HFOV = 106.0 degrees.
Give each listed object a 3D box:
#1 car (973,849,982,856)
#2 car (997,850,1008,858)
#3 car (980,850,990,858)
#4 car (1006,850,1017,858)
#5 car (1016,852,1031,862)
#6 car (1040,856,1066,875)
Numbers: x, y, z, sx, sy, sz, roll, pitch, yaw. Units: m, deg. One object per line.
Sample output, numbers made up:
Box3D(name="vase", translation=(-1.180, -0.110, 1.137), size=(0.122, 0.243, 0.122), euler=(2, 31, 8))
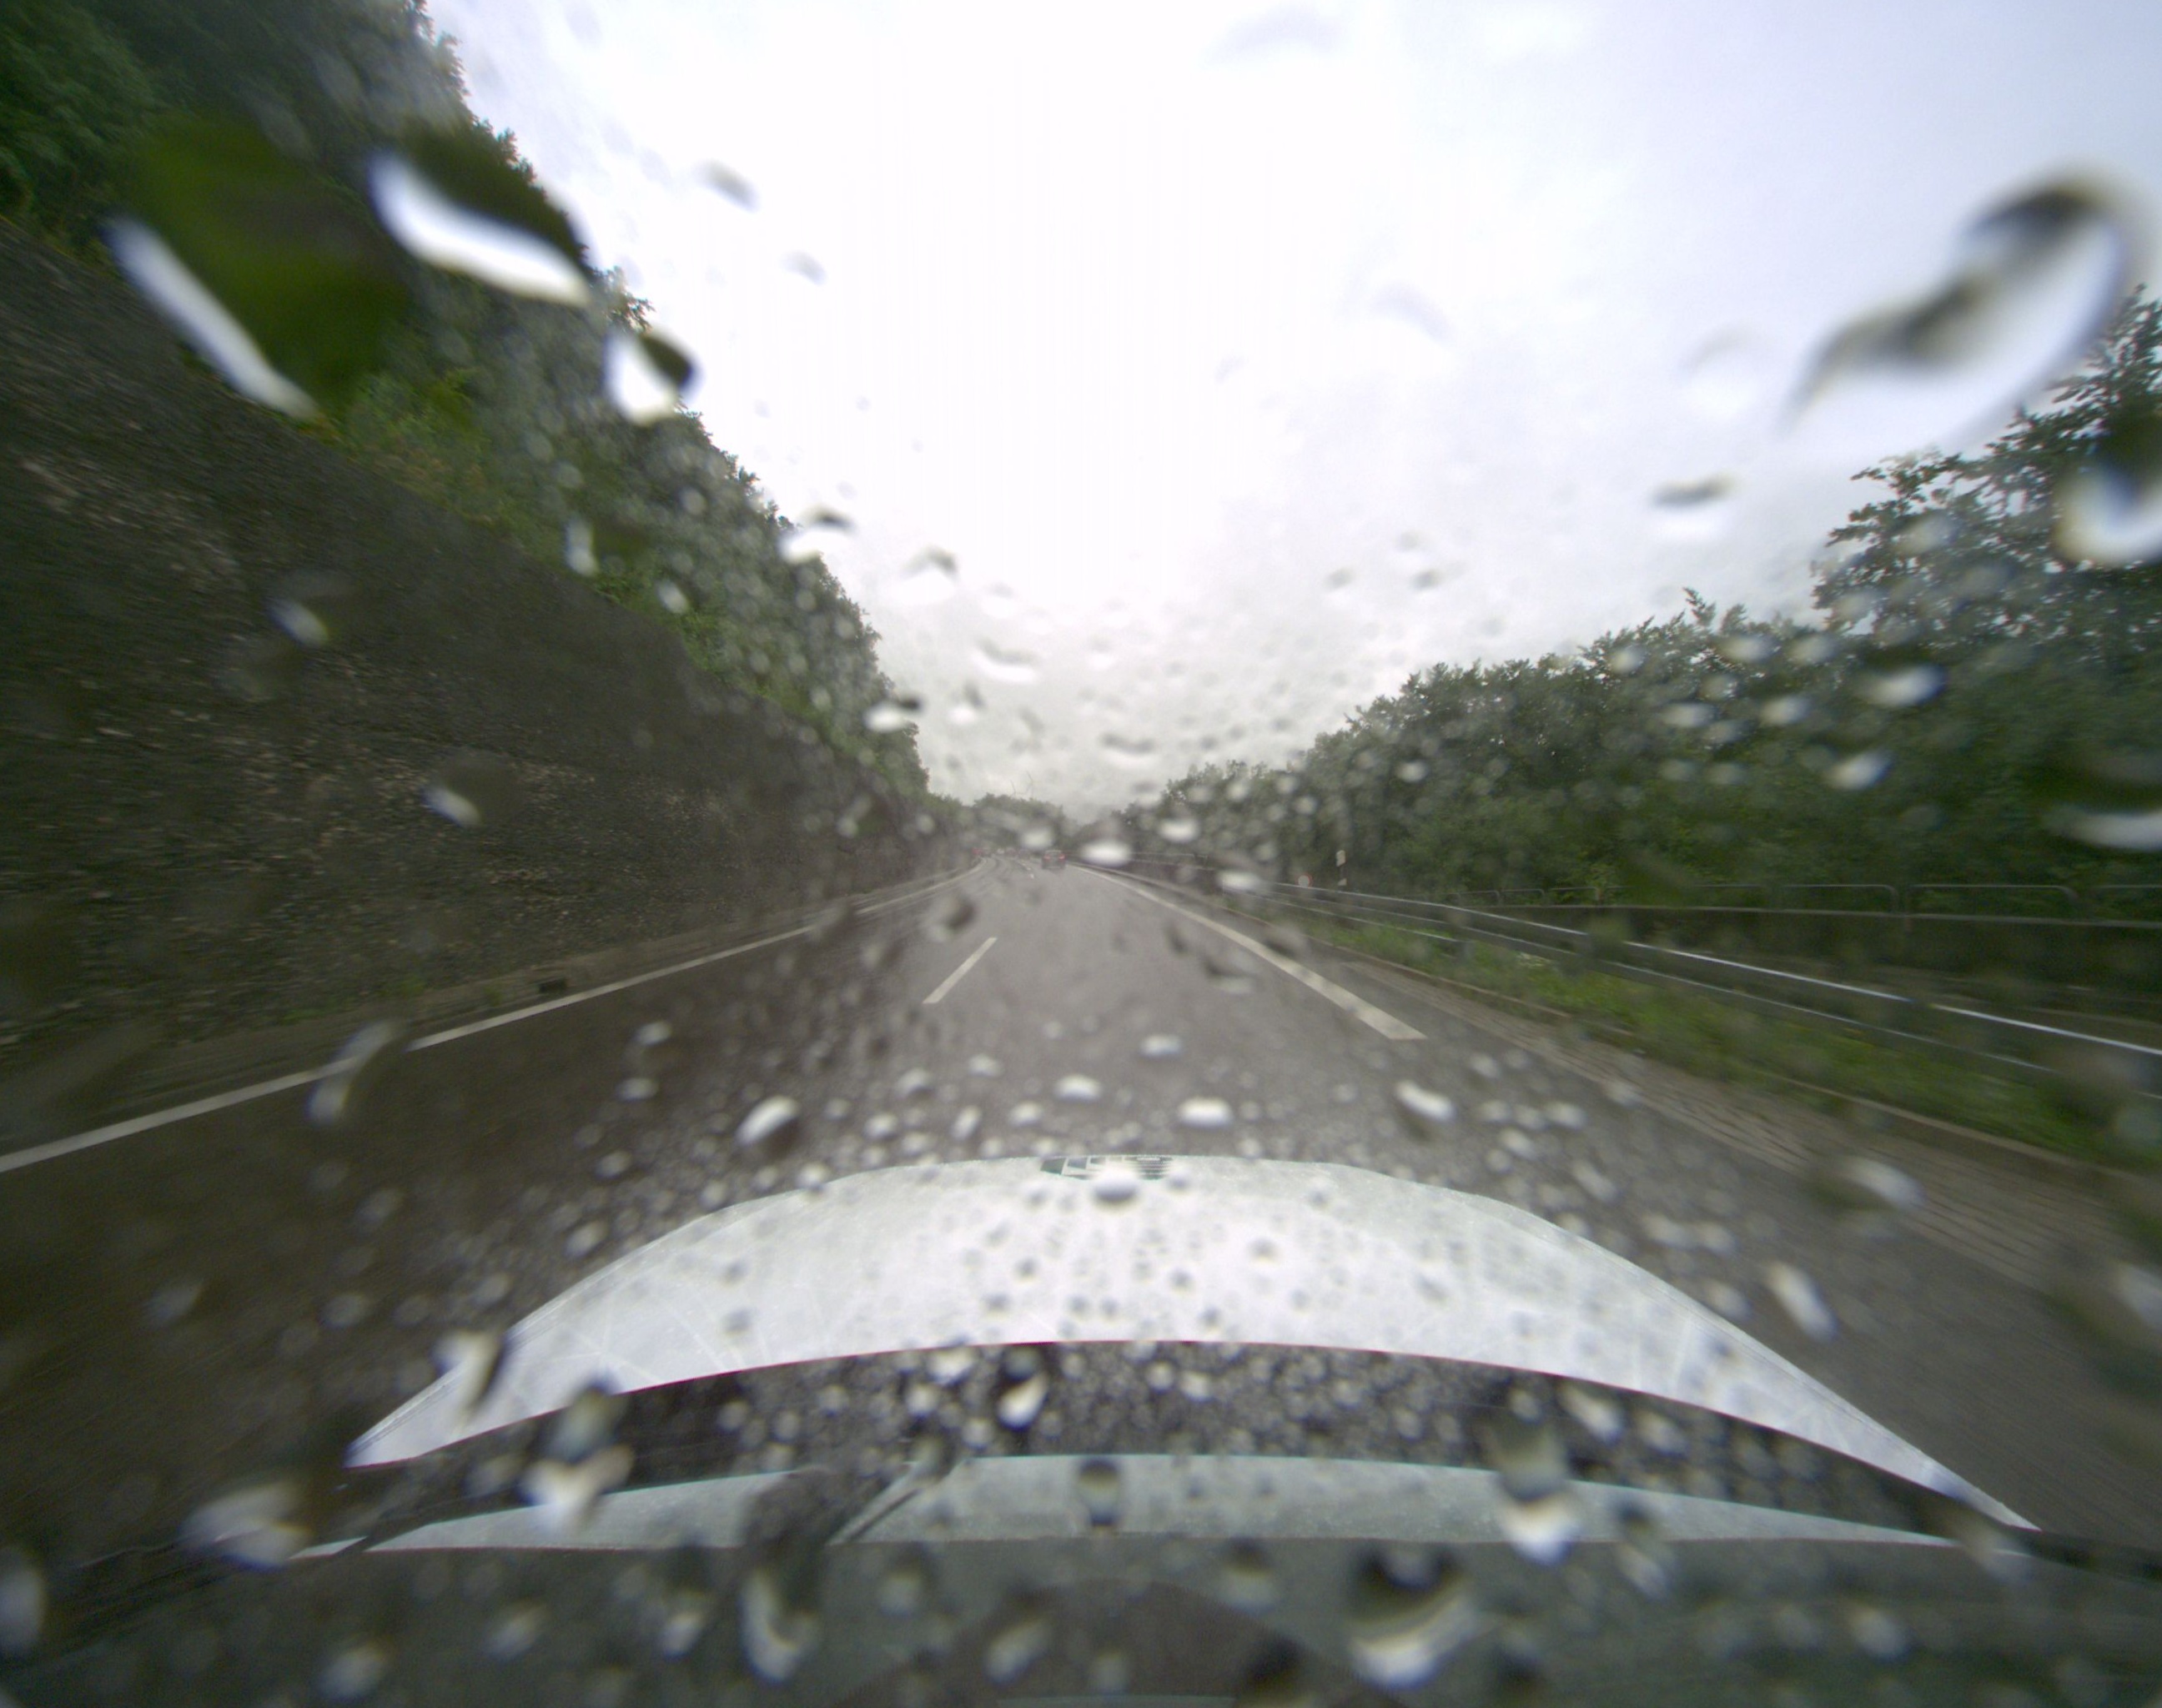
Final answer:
Box3D(name="car", translation=(-22.224, -0.332, 174.945), size=(1.903, 1.499, 3.988), euler=(0, 0, -9))
Box3D(name="car", translation=(-16.426, -0.044, 169.670), size=(1.904, 1.499, 3.986), euler=(0, 0, -10))
Box3D(name="car", translation=(-17.373, -0.031, 147.457), size=(1.902, 1.499, 3.990), euler=(0, 0, -7))
Box3D(name="car", translation=(-12.805, -0.043, 150.298), size=(1.902, 1.499, 3.990), euler=(0, 0, -7))
Box3D(name="car", translation=(-8.577, 0.474, 121.292), size=(1.903, 1.499, 3.987), euler=(0, 0, -9))
Box3D(name="car", translation=(-2.291, 0.891, 66.290), size=(1.901, 1.499, 3.992), euler=(0, 0, -6))
